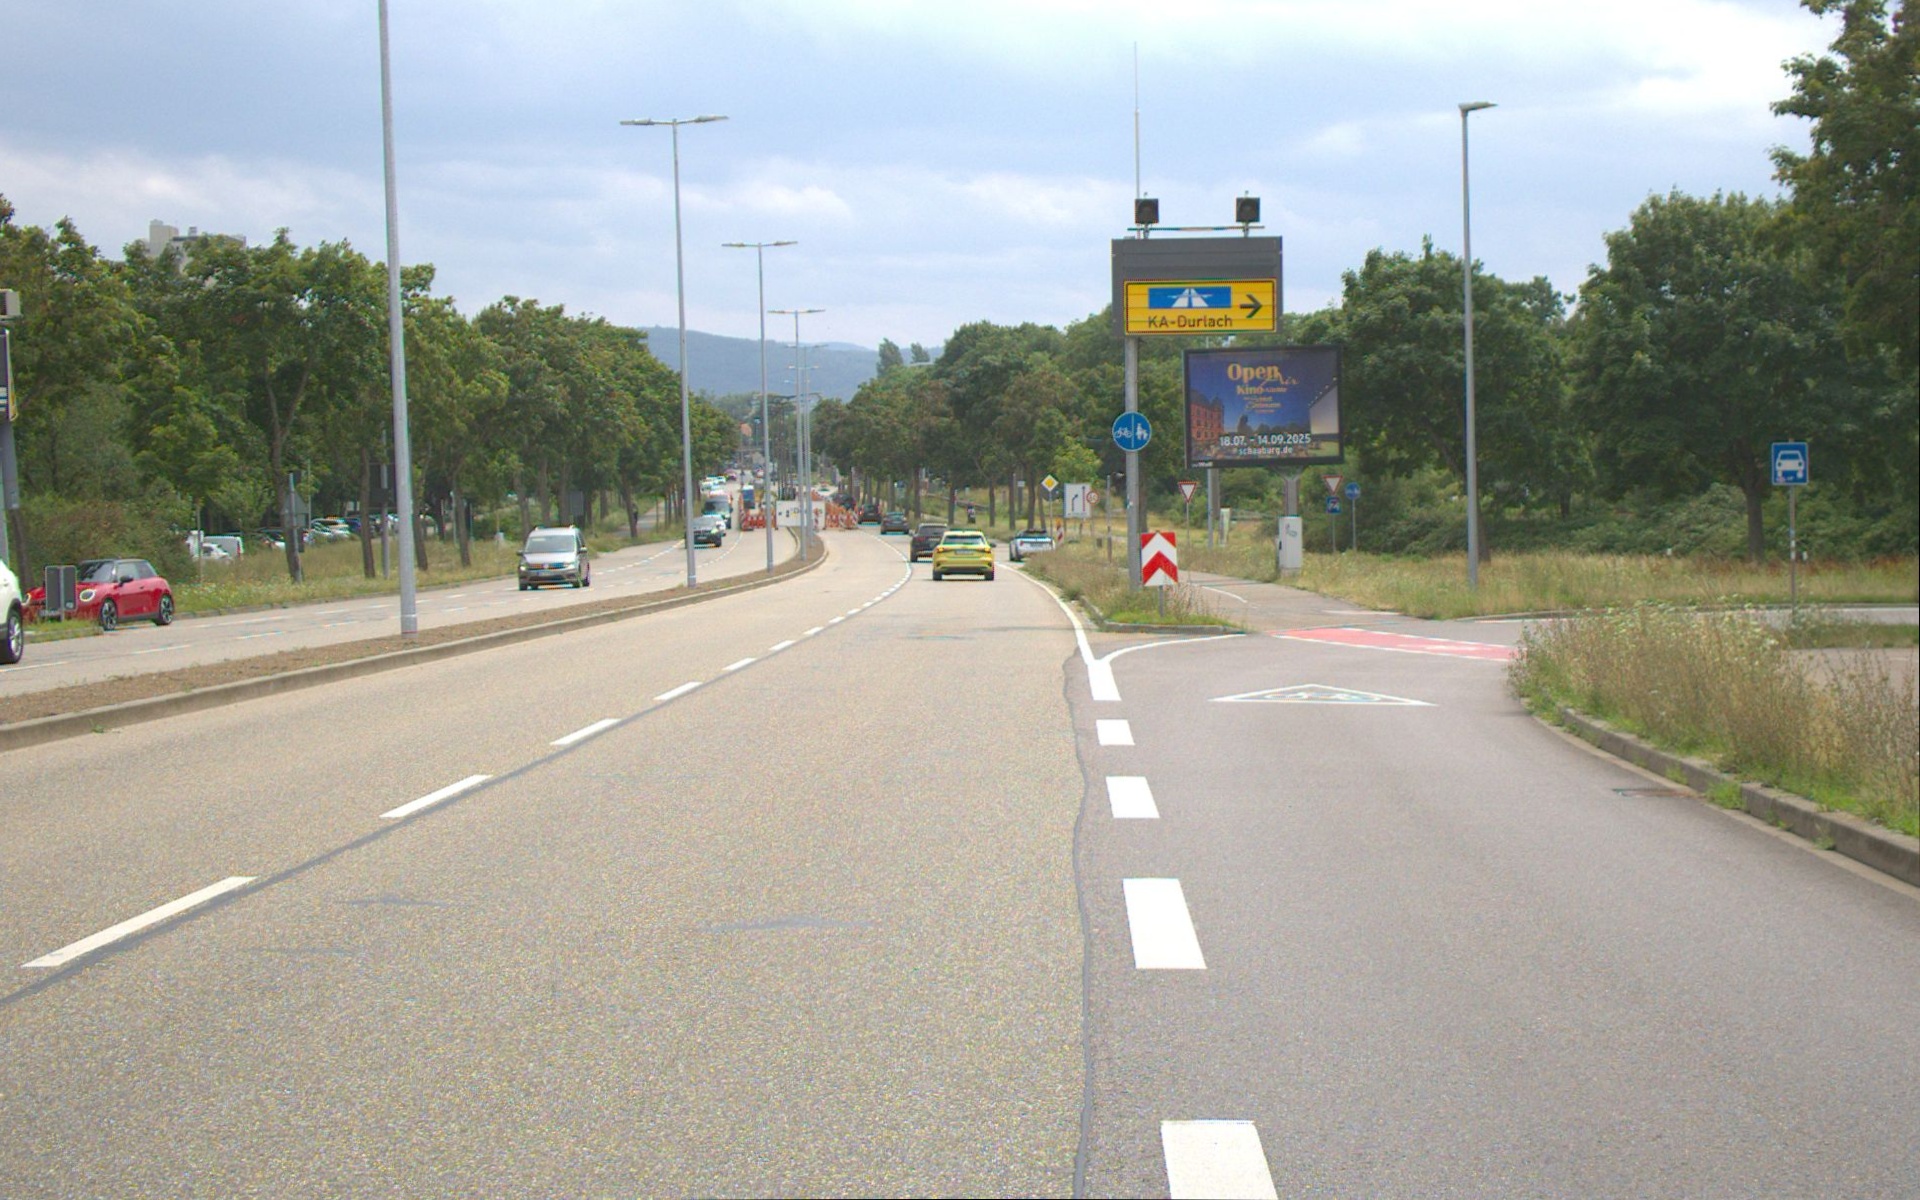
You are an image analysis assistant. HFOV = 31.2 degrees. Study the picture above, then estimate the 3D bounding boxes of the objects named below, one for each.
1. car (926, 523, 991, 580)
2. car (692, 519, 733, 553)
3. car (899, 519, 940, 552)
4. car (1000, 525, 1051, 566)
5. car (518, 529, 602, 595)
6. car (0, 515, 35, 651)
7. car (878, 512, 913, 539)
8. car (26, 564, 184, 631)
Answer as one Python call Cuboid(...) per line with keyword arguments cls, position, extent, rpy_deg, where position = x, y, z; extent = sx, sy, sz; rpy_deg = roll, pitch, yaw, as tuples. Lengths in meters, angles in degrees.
Cuboid(cls="car", position=(-0.054, -1.444, 100.621), extent=(1.793, 1.556, 4.001), rpy_deg=(-1, 2, -1))
Cuboid(cls="car", position=(-14.055, -3.667, 195.537), extent=(1.993, 1.805, 4.798), rpy_deg=(-2, 2, -1))
Cuboid(cls="car", position=(-1.708, -2.725, 144.710), extent=(1.667, 1.265, 4.001), rpy_deg=(-1, 2, -1))
Cuboid(cls="car", position=(2.828, -2.386, 148.955), extent=(2.013, 1.664, 4.001), rpy_deg=(-1, 2, -1))
Cuboid(cls="car", position=(-11.713, -1.142, 100.971), extent=(1.902, 1.803, 4.540), rpy_deg=(-1, 2, 0))
Cuboid(cls="car", position=(-12.412, -0.156, 40.564), extent=(1.694, 1.623, 4.384), rpy_deg=(0, 2, 2))
Cuboid(cls="car", position=(-4.148, -4.817, 222.447), extent=(2.206, 1.678, 4.001), rpy_deg=(-1, 2, 0))
Cuboid(cls="car", position=(-17.036, -0.074, 68.668), extent=(1.404, 1.240, 3.889), rpy_deg=(1, 1, 14))
